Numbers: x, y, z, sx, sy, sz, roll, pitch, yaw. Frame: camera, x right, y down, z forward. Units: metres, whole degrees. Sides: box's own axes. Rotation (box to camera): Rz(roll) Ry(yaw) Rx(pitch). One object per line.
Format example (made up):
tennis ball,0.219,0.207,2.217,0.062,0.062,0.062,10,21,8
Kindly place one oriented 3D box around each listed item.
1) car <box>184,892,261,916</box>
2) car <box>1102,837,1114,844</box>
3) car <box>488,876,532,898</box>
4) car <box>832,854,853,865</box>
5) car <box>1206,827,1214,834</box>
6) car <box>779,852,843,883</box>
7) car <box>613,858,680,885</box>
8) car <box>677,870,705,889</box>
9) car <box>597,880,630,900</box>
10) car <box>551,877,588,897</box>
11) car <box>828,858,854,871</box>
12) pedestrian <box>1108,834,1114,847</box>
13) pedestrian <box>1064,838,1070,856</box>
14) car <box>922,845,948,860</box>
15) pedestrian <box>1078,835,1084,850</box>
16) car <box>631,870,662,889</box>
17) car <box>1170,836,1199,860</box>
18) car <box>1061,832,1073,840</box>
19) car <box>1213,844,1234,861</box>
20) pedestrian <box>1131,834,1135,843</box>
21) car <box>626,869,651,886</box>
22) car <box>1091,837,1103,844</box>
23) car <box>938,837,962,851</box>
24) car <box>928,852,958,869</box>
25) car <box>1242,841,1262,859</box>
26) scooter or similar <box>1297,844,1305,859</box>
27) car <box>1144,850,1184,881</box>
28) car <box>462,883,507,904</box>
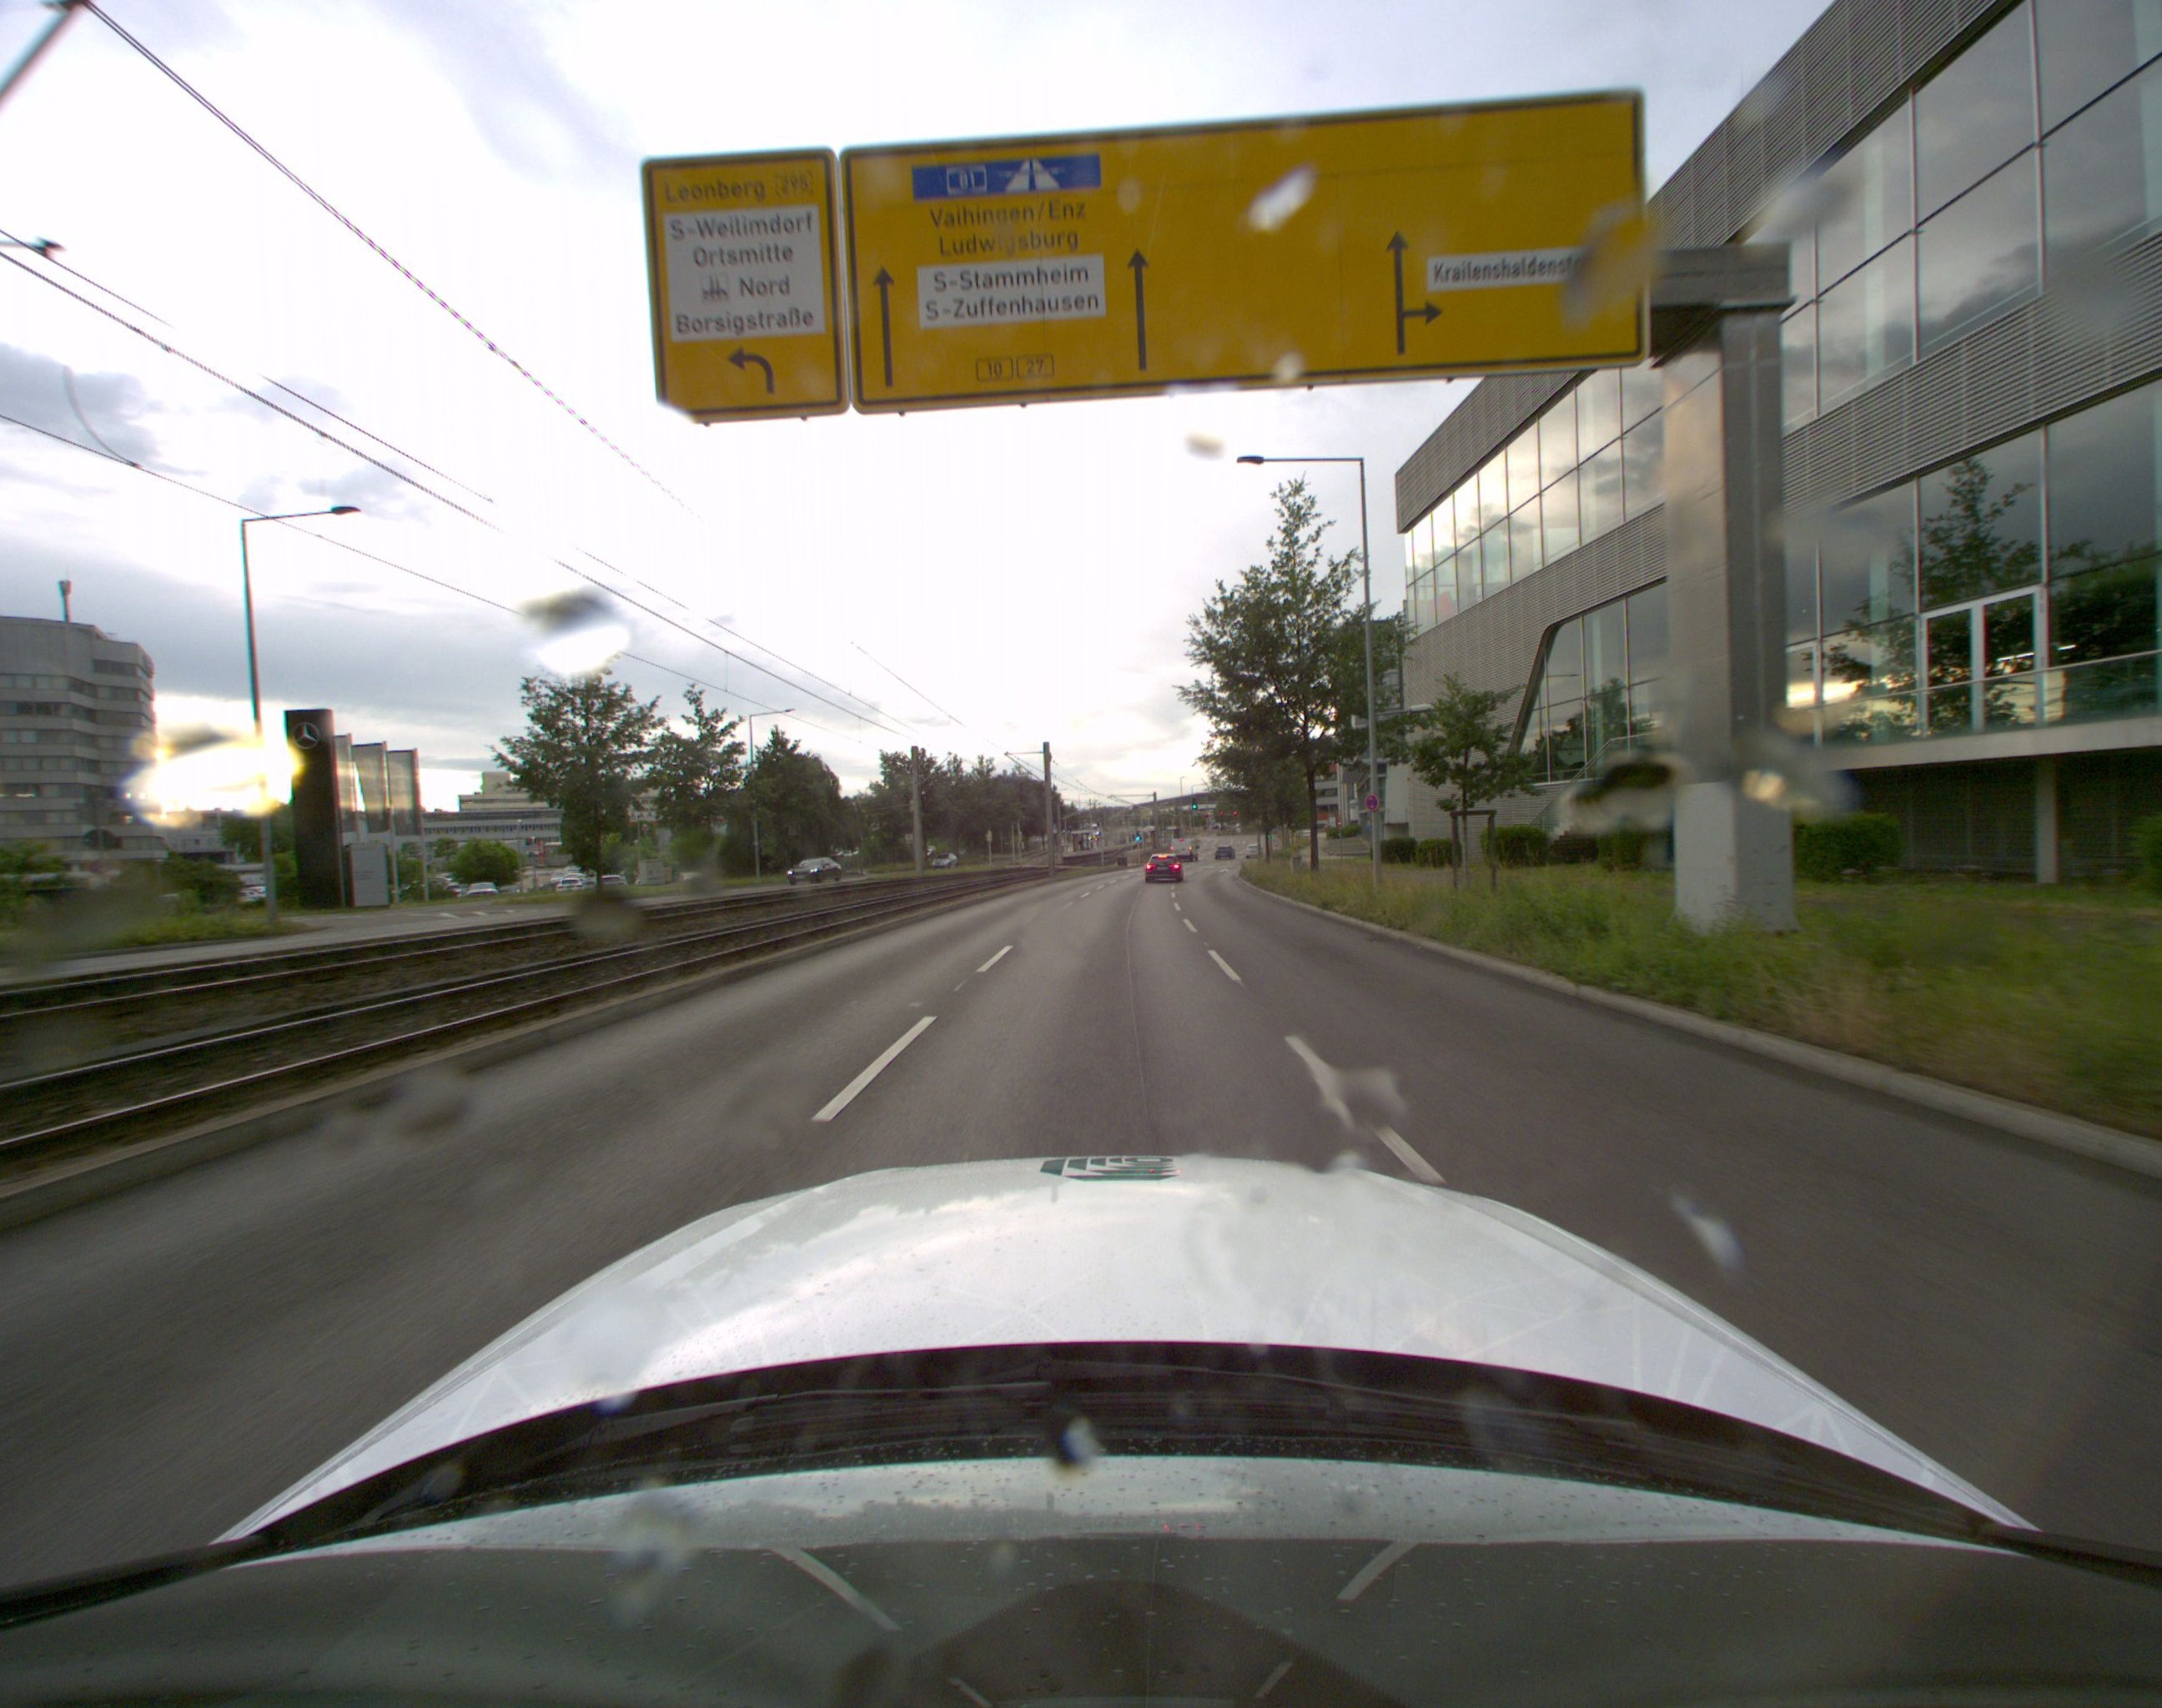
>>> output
car,-67.082,3.898,63.713,3.725,1.674,1.980,0,-2,-31
car,7.612,-3.788,228.344,2.000,2.014,3.973,0,-1,-19
car,-41.858,2.369,59.781,2.004,1.510,3.965,0,-1,-26
car,-45.178,0.997,154.142,3.949,2.014,2.012,-2,-2,41
car,39.748,-7.128,250.749,1.986,2.014,4.000,-1,-1,1
car,-15.197,0.710,46.127,1.876,1.520,4.405,-5,0,2
car,-27.992,1.107,52.615,1.984,1.651,4.004,-1,-1,4
car,-32.335,2.087,67.546,2.004,1.510,3.965,0,-1,-26
car,-37.590,2.899,65.599,1.758,1.494,3.970,0,-1,-22
car,-40.215,2.567,64.052,1.758,1.494,3.970,0,-1,-22
car,-27.024,1.187,91.667,2.006,1.415,3.962,0,-1,-29
pedestrian,4.906,-2.196,134.011,0.851,2.014,1.042,-1,-1,2
pedestrian,-1.489,-0.777,89.488,0.546,1.953,0.665,-1,-1,8
car,-20.313,-0.245,113.503,1.979,2.014,4.015,-1,-1,14
pedestrian,-0.001,-1.491,104.890,0.633,1.854,0.753,-1,-1,11
car,-35.547,2.063,66.722,1.758,1.494,3.970,0,-1,-22
car,10.448,-0.558,81.570,2.495,2.177,5.165,-1,-1,11
car,-3.830,-4.884,219.558,2.000,2.014,3.973,0,-1,-19
car,15.204,-0.130,86.729,2.008,1.623,4.013,-1,-1,12
pedestrian,9.876,-3.001,155.074,0.747,1.751,0.766,-1,-1,12
car,-41.272,2.178,75.993,2.006,1.510,3.962,0,-1,-29
car,4.476,-3.737,227.591,2.000,2.014,3.973,0,-1,-19
car,-19.007,-1.451,118.699,1.979,2.014,4.015,-1,-1,14
car,-14.157,0.665,83.788,1.983,1.679,4.008,-1,0,7
car,18.654,-0.439,88.712,2.008,1.769,4.014,-1,2,12
scooter or similar,19.591,-0.240,72.681,0.455,1.263,1.340,-4,0,9
car,4.318,0.565,42.013,1.754,1.463,4.639,-1,1,9
car,-44.898,2.938,61.394,1.758,1.494,3.970,0,-1,-22
